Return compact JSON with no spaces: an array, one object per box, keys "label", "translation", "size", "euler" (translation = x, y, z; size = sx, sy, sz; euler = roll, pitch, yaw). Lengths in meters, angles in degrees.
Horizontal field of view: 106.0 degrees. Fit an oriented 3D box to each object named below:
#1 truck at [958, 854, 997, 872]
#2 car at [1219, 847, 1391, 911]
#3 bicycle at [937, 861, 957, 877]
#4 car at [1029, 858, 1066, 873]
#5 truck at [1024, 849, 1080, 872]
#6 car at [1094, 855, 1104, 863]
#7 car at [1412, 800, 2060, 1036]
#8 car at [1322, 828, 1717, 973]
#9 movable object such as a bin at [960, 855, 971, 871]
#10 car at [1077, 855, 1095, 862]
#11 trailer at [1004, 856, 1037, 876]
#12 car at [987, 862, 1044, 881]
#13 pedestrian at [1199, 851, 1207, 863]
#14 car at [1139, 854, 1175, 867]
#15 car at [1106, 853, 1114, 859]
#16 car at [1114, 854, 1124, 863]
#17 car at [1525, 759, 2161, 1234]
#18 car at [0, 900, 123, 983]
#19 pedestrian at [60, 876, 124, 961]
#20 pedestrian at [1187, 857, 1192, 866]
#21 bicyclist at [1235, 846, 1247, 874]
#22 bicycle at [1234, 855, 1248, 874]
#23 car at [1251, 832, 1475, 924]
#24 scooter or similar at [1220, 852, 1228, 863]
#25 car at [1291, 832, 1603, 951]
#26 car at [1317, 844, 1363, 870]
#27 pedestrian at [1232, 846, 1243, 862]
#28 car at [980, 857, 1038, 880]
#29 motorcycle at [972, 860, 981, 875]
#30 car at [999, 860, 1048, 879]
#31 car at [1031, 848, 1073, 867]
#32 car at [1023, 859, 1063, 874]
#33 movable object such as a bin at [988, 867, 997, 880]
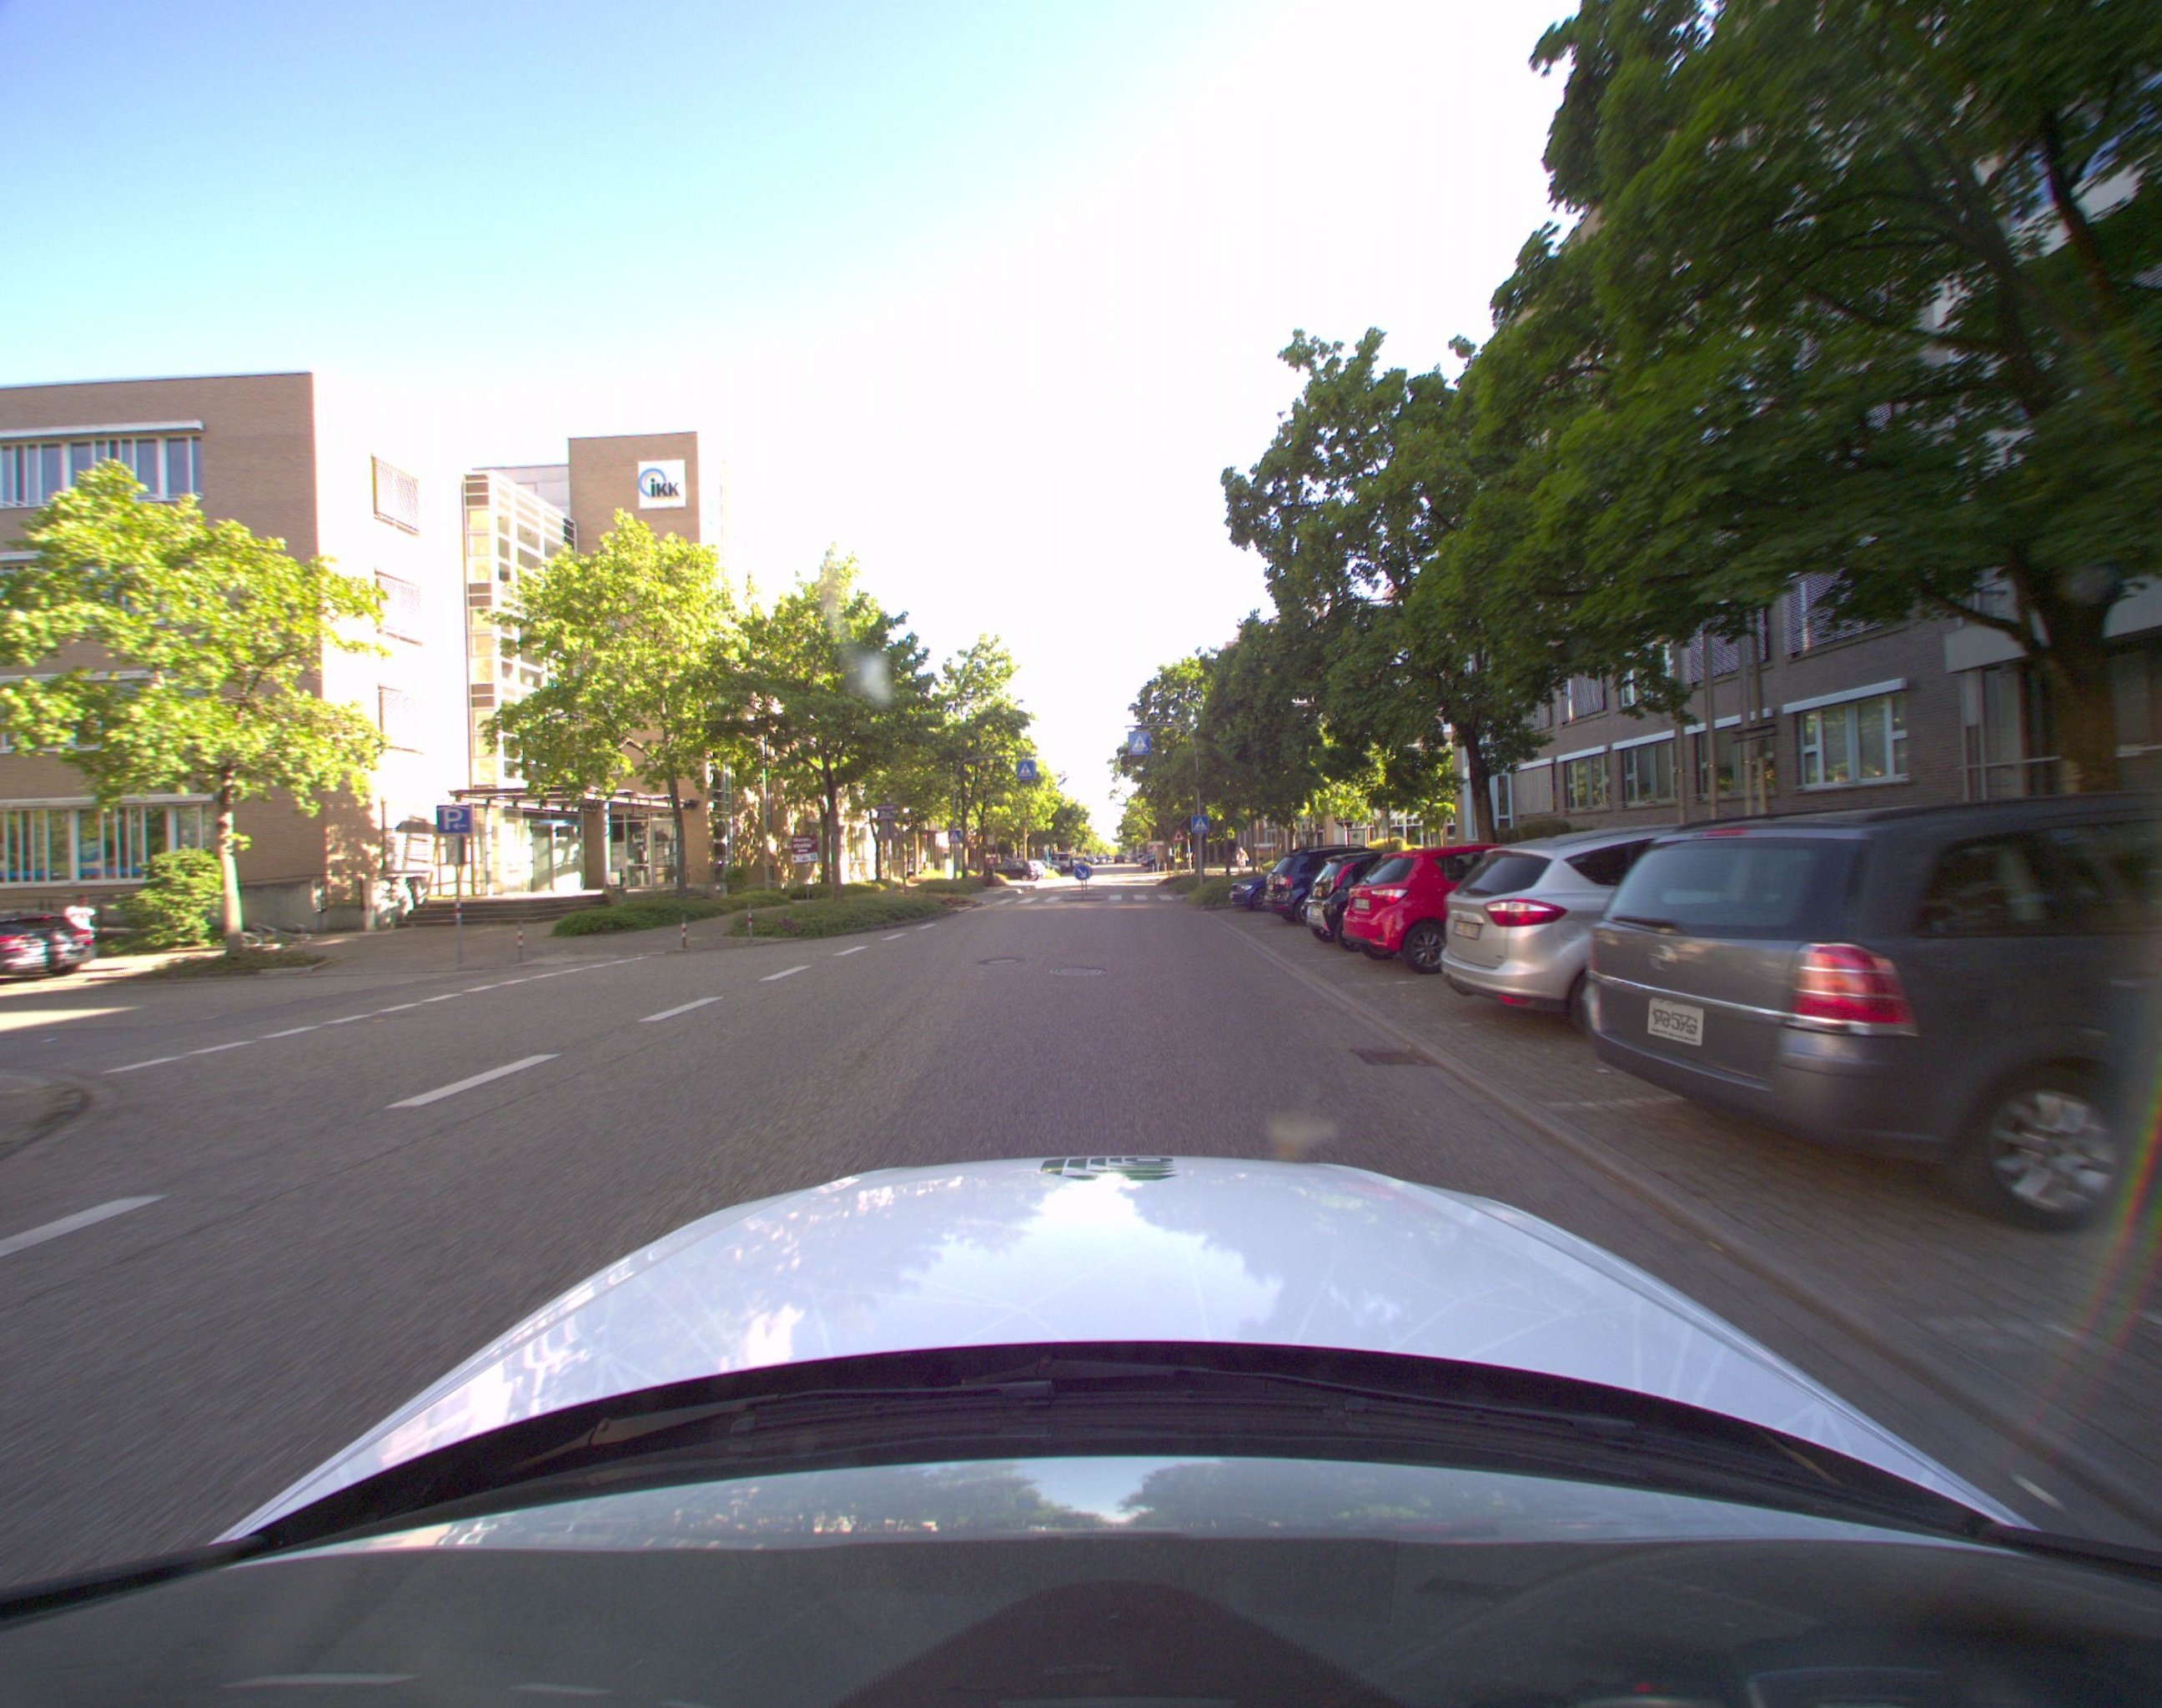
[{"label":"truck","translation":[-17.314,1.549,136.025],"size":[6.083,2.704,2.578],"euler":[-2,0,0]},{"label":"car","translation":[5.968,0.660,22.002],"size":[4.104,1.370,1.653],"euler":[-4,-1,-2]},{"label":"bicycle","translation":[-12.481,1.401,75.928],"size":[1.730,1.409,0.610],"euler":[0,-1,-21]},{"label":"car","translation":[-3.516,1.182,85.813],"size":[3.763,1.492,1.834],"euler":[-1,0,2]},{"label":"truck","translation":[-3.308,0.758,94.493],"size":[6.207,2.422,2.189],"euler":[-3,-1,2]},{"label":"car","translation":[3.248,0.887,146.596],"size":[1.772,1.511,4.003],"euler":[-2,0,3]},{"label":"car","translation":[5.148,0.493,6.885],"size":[3.969,1.584,1.716],"euler":[-3,-1,4]},{"label":"car","translation":[5.472,0.552,10.551],"size":[4.114,1.517,1.835],"euler":[-3,-1,-2]},{"label":"movable object such as a bin","translation":[-12.564,0.987,88.648],"size":[1.145,1.620,1.437],"euler":[-2,0,-10]},{"label":"car","translation":[1.144,1.034,183.595],"size":[3.878,1.464,1.859],"euler":[-2,0,1]},{"label":"trailer","translation":[-5.325,1.026,71.768],"size":[2.714,1.687,1.713],"euler":[0,0,2]},{"label":"car","translation":[-4.920,1.299,61.700],"size":[4.136,1.402,1.802],"euler":[0,0,2]},{"label":"pedestrian","translation":[18.017,0.480,120.256],"size":[0.695,1.711,0.918],"euler":[-5,0,-9]},{"label":"car","translation":[10.072,0.854,108.155],"size":[4.343,1.597,1.937],"euler":[-3,-1,-4]},{"label":"car","translation":[8.339,0.543,234.950],"size":[1.885,1.684,4.353],"euler":[-2,0,0]},{"label":"car","translation":[7.137,0.874,153.422],"size":[1.925,1.597,4.368],"euler":[-2,0,2]},{"label":"car","translation":[4.765,0.453,3.986],"size":[4.114,1.666,1.906],"euler":[-3,-1,-2]},{"label":"car","translation":[-23.428,1.846,17.003],"size":[4.690,1.508,1.848],"euler":[-2,0,1]},{"label":"pedestrian","translation":[-23.166,1.491,19.088],"size":[0.619,1.918,0.673],"euler":[-3,-1,4]},{"label":"pedestrian","translation":[16.726,1.161,125.657],"size":[0.698,1.458,0.715],"euler":[-3,0,0]},{"label":"bicyclist","translation":[9.593,0.345,48.810],"size":[0.534,1.636,0.823],"euler":[-2,0,3]},{"label":"bicycle","translation":[9.601,0.620,48.802],"size":[0.531,1.078,1.921],"euler":[-2,0,4]},{"label":"car","translation":[5.920,0.505,17.384],"size":[4.114,1.590,1.659],"euler":[-4,-2,-2]},{"label":"scooter or similar","translation":[17.034,0.397,96.826],"size":[0.547,1.325,1.804],"euler":[0,-1,-2]},{"label":"car","translation":[5.617,0.553,12.825],"size":[4.114,1.461,1.659],"euler":[-4,-1,-2]},{"label":"car","translation":[17.460,0.211,55.054],"size":[1.732,1.566,4.365],"euler":[-1,-2,0]},{"label":"pedestrian","translation":[17.495,0.024,90.997],"size":[0.918,1.711,0.695],"euler":[-5,0,-11]},{"label":"car","translation":[-5.179,1.049,58.889],"size":[3.972,1.570,1.729],"euler":[0,0,1]},{"label":"motorcycle","translation":[-12.011,1.542,93.721],"size":[0.712,1.591,2.110],"euler":[-2,0,1]},{"label":"car","translation":[-4.555,1.222,64.727],"size":[3.740,1.452,1.755],"euler":[0,0,1]},{"label":"car","translation":[-3.129,0.367,89.170],"size":[4.467,2.052,2.000],"euler":[0,-1,0]},{"label":"car","translation":[-3.863,1.309,83.363],"size":[3.815,1.461,1.735],"euler":[-1,0,5]},{"label":"movable object such as a bin","translation":[-5.079,1.136,46.610],"size":[0.440,0.731,0.408],"euler":[0,-1,2]}]
